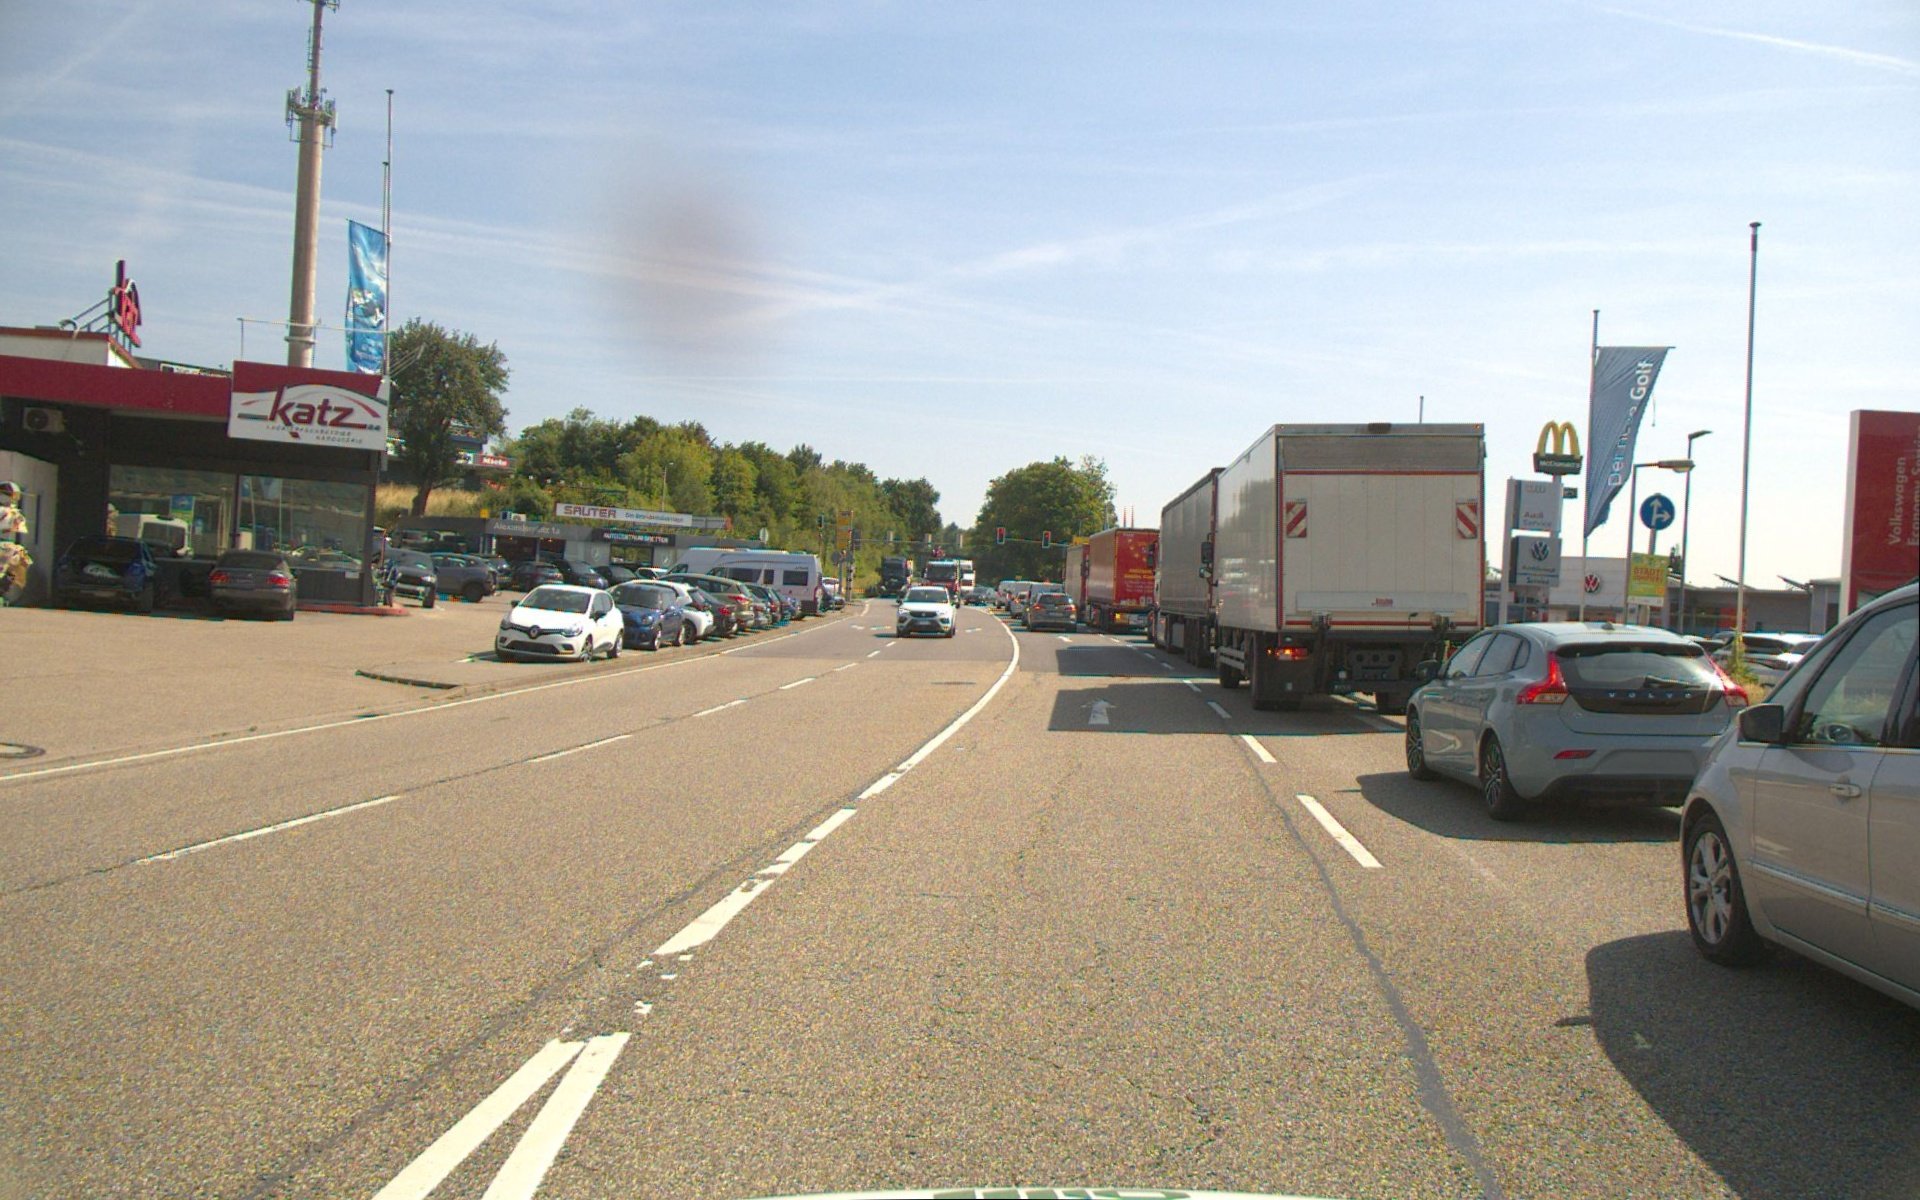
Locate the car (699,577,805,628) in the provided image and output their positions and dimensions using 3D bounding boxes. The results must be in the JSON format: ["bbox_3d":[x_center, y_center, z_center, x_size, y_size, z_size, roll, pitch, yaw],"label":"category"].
[{"bbox_3d":[-7.667,0.064,61.087,3.633,1.582,1.708,4,2,-1],"label":"car"}]

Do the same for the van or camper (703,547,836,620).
[{"bbox_3d":[-7.901,-0.693,68.997,5.137,2.779,2.211,2,0,2],"label":"van or camper"}]

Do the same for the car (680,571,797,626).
[{"bbox_3d":[-7.795,-0.052,58.396,3.768,1.510,1.802,6,0,-1],"label":"car"}]

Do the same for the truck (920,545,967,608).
[{"bbox_3d":[-1.076,-1.624,117.569,2.895,4.282,10.649,0,0,2],"label":"truck"}]

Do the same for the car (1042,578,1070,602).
[{"bbox_3d":[6.701,-0.664,115.955,1.691,1.545,3.312,3,0,0],"label":"car"}]

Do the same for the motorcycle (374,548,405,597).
[{"bbox_3d":[-15.449,-0.745,44.779,0.758,1.283,2.044,2,0,-19],"label":"motorcycle"}]

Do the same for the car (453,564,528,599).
[{"bbox_3d":[-22.977,-0.900,80.952,3.760,1.616,1.759,2,0,41],"label":"car"}]

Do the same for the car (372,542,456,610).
[{"bbox_3d":[-16.178,-0.693,48.884,1.798,1.703,4.097,8,-3,-24],"label":"car"}]

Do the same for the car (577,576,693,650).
[{"bbox_3d":[-7.779,0.298,39.912,1.743,1.519,3.783,6,0,3],"label":"car"}]

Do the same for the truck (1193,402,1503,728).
[{"bbox_3d":[5.501,-0.455,25.706,2.819,3.877,11.147,2,0,4],"label":"truck"}]

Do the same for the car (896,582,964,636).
[{"bbox_3d":[-0.929,0.278,53.779,1.895,1.703,4.002,0,0,3],"label":"car"}]

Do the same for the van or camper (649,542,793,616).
[{"bbox_3d":[-10.262,-0.907,71.417,5.771,2.923,2.290,2,1,1],"label":"van or camper"}]

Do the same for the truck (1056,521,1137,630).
[{"bbox_3d":[7.371,-1.313,91.655,3.000,5.311,17.008,2,1,0],"label":"truck"}]

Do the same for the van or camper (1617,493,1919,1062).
[{"bbox_3d":[3.992,0.597,5.781,1.710,1.818,5.136,3,0,5],"label":"van or camper"}]

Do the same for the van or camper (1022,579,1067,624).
[{"bbox_3d":[3.935,0.052,77.222,1.815,1.939,3.784,3,0,0],"label":"van or camper"}]

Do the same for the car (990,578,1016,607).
[{"bbox_3d":[3.072,-0.495,117.903,1.691,1.942,3.313,3,0,4],"label":"car"}]

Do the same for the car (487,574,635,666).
[{"bbox_3d":[-7.873,0.372,33.011,1.742,1.646,4.001,3,0,3],"label":"car"}]

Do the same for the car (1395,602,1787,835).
[{"bbox_3d":[4.718,0.779,13.031,1.699,1.453,4.227,3,0,4],"label":"car"}]

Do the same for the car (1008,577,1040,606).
[{"bbox_3d":[3.683,-0.462,95.278,1.691,1.545,3.312,3,0,1],"label":"car"}]

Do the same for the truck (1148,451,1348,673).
[{"bbox_3d":[6.688,-0.794,41.389,2.830,4.340,16.716,2,0,3],"label":"truck"}]

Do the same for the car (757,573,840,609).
[{"bbox_3d":[-7.708,-0.424,78.960,3.739,1.566,1.842,2,0,0],"label":"car"}]

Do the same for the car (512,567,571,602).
[{"bbox_3d":[-20.665,-0.759,81.575,1.746,1.616,3.787,1,0,-32],"label":"car"}]

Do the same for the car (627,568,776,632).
[{"bbox_3d":[-7.915,-0.013,50.858,4.192,1.510,1.836,6,0,-1],"label":"car"}]

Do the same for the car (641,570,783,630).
[{"bbox_3d":[-8.264,-0.013,55.319,4.370,1.510,1.772,6,0,-1],"label":"car"}]

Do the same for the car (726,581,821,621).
[{"bbox_3d":[-7.451,0.032,66.403,3.519,1.506,1.813,1,0,1],"label":"car"}]

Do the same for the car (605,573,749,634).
[{"bbox_3d":[-7.796,0.083,45.797,3.632,1.552,1.792,1,0,-1],"label":"car"}]

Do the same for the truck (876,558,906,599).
[{"bbox_3d":[-6.682,-2.076,160.392,2.757,3.852,6.985,1,1,-3],"label":"truck"}]

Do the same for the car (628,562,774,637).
[{"bbox_3d":[-7.497,-0.015,48.153,3.808,1.746,1.806,6,0,-1],"label":"car"}]

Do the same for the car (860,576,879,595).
[{"bbox_3d":[-10.433,-1.649,190.292,1.954,2.049,3.997,3,0,-4],"label":"car"}]

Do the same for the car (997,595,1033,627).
[{"bbox_3d":[2.853,0.576,86.673,1.692,1.545,3.311,3,0,-1],"label":"car"}]

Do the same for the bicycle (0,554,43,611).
[{"bbox_3d":[-18.308,-0.398,30.836,1.964,0.988,0.412,7,-2,-21],"label":"bicycle"}]

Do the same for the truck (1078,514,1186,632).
[{"bbox_3d":[7.109,-1.088,70.869,2.896,4.344,16.585,2,1,0],"label":"truck"}]

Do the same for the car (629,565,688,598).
[{"bbox_3d":[-15.715,-0.968,86.012,1.746,1.616,3.787,1,0,-32],"label":"car"}]

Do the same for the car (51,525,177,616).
[{"bbox_3d":[-17.571,-0.657,34.520,1.828,1.530,3.975,6,1,-22],"label":"car"}]

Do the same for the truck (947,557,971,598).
[{"bbox_3d":[-0.111,-2.503,184.076,2.500,4.382,7.596,1,0,0],"label":"truck"}]

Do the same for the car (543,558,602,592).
[{"bbox_3d":[-19.554,-1.268,83.282,1.746,1.616,3.787,1,0,-32],"label":"car"}]

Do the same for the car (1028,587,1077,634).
[{"bbox_3d":[3.514,0.389,62.688,1.752,1.667,3.505,2,0,4],"label":"car"}]

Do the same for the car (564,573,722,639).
[{"bbox_3d":[-8.236,0.141,43.196,3.719,1.552,1.846,2,0,-1],"label":"car"}]

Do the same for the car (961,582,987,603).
[{"bbox_3d":[1.133,-0.587,131.843,1.768,1.587,4.390,1,0,5],"label":"car"}]

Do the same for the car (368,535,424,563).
[{"bbox_3d":[-31.487,-2.856,92.320,1.720,1.476,3.695,3,0,-40],"label":"car"}]

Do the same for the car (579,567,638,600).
[{"bbox_3d":[-18.014,-0.866,84.653,1.746,1.616,3.787,1,0,-32],"label":"car"}]

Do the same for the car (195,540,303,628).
[{"bbox_3d":[-15.307,-0.393,35.779,1.827,1.530,4.370,5,2,-21],"label":"car"}]

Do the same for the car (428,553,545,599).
[{"bbox_3d":[-17.164,-0.864,59.980,3.883,1.559,1.757,2,0,-23],"label":"car"}]

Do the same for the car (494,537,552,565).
[{"bbox_3d":[-24.732,-2.779,93.591,1.720,1.476,3.695,3,0,-40],"label":"car"}]

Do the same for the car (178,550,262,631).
[{"bbox_3d":[-18.433,-0.269,41.278,1.677,1.789,3.734,6,-1,-24],"label":"car"}]

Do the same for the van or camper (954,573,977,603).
[{"bbox_3d":[0.552,-1.231,169.359,2.178,2.890,5.711,3,0,0],"label":"van or camper"}]
